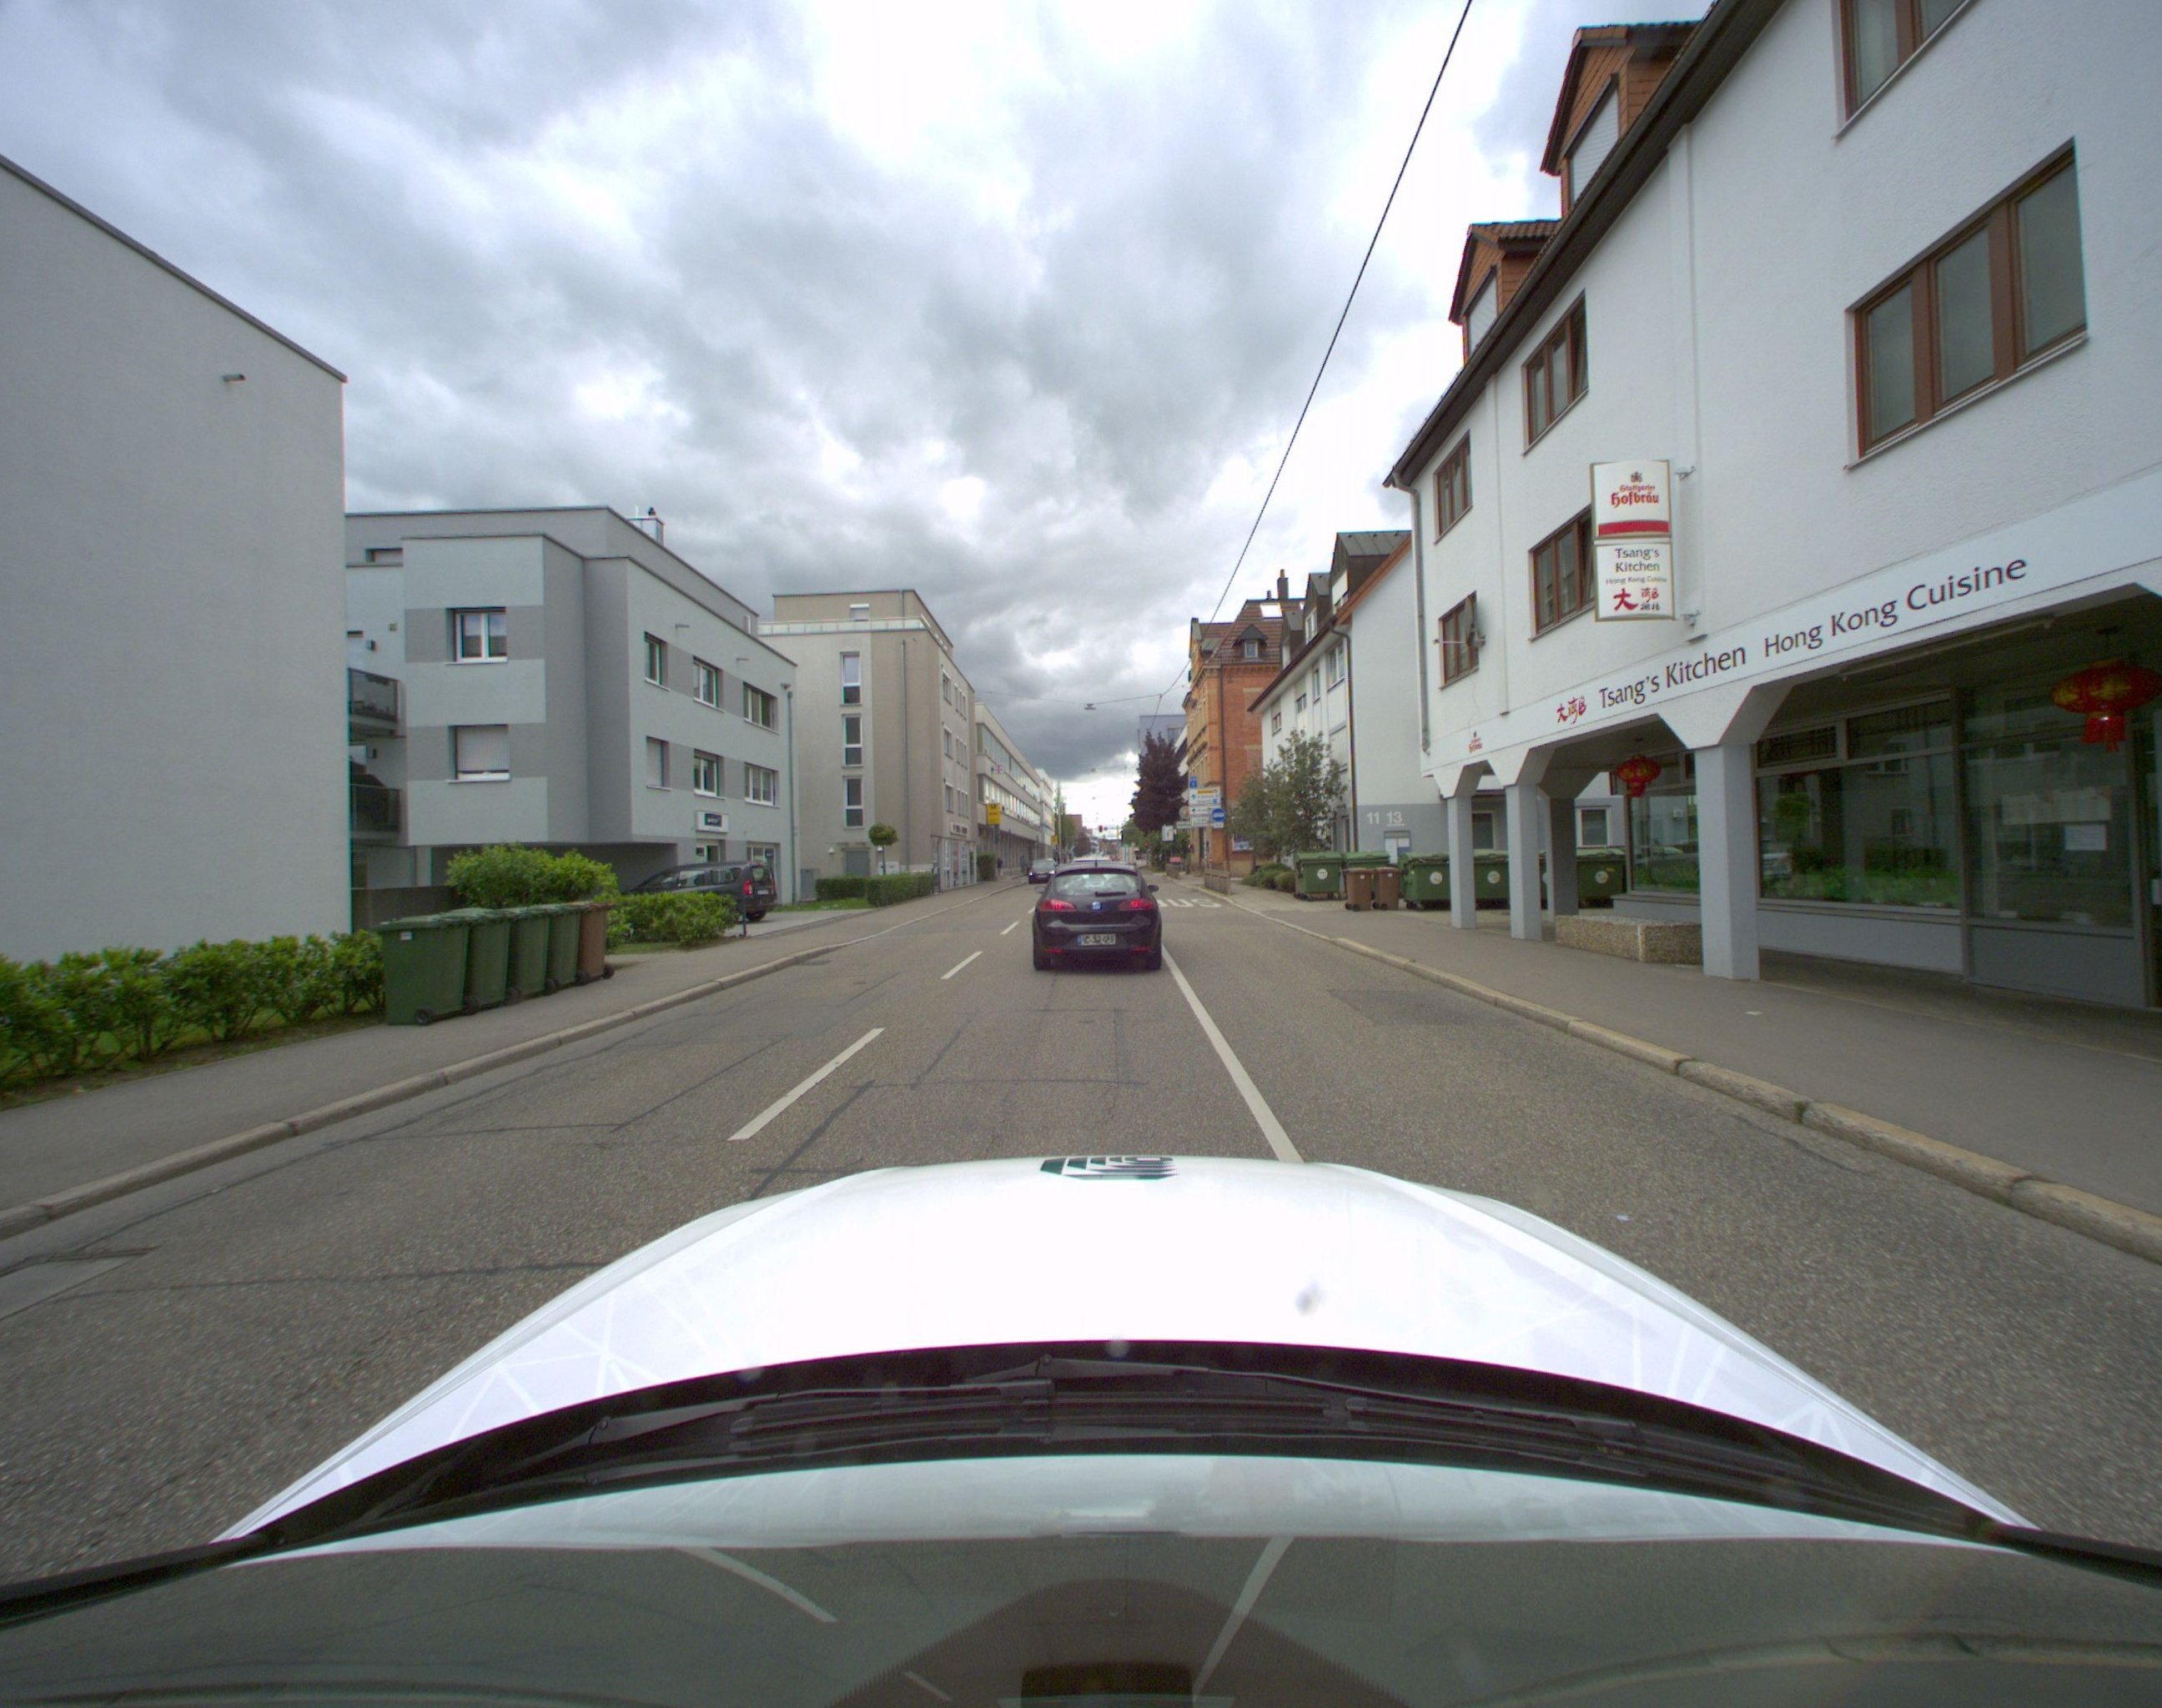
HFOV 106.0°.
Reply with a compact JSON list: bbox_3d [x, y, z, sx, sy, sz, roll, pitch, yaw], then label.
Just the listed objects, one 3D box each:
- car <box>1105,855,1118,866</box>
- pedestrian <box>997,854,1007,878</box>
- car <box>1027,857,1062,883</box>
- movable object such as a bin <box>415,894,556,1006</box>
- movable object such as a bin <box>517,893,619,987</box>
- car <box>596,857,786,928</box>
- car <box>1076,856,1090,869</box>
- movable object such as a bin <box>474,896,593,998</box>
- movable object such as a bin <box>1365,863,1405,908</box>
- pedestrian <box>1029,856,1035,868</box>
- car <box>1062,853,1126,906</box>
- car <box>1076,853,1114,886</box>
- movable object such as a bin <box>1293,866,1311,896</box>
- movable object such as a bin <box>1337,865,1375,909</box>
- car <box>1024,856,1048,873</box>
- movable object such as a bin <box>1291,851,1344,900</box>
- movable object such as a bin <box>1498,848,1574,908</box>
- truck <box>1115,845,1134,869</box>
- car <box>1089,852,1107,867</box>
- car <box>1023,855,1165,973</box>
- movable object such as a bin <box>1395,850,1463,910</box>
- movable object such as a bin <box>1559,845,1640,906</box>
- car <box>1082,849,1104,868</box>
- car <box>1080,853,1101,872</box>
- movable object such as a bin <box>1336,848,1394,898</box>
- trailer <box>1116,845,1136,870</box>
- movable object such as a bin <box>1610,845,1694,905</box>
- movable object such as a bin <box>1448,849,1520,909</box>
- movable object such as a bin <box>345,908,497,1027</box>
[{"bbox_3d":[4.291,0.900,113.927,1.797,1.601,3.738,0,0,1],"label":"car"},{"bbox_3d":[-5.860,0.887,60.393,0.641,1.769,0.809,-2,0,-1],"label":"pedestrian"},{"bbox_3d":[-2.276,0.966,51.667,1.872,1.451,4.215,-4,0,1],"label":"car"},{"bbox_3d":[-6.723,1.058,9.246,0.954,1.151,0.839,-1,0,-3],"label":"movable object such as a bin"},{"bbox_3d":[-6.773,1.119,10.780,0.938,1.151,0.612,-1,0,-3],"label":"movable object such as a bin"},{"bbox_3d":[-10.189,0.990,21.424,4.144,1.667,1.727,-2,-1,5],"label":"car"},{"bbox_3d":[0.387,1.310,126.568,1.987,1.738,4.554,-4,0,1],"label":"car"},{"bbox_3d":[-6.748,1.125,10.081,0.946,1.151,0.748,-1,0,-3],"label":"movable object such as a bin"},{"bbox_3d":[7.692,0.790,20.627,0.694,1.079,0.973,-1,0,5],"label":"movable object such as a bin"},{"bbox_3d":[-6.253,1.027,104.054,0.653,1.623,0.681,-2,0,2],"label":"pedestrian"},{"bbox_3d":[0.399,0.732,25.214,1.797,1.492,3.738,-2,0,1],"label":"car"},{"bbox_3d":[0.713,0.756,40.757,1.797,1.553,3.738,-2,0,1],"label":"car"},{"bbox_3d":[6.882,0.835,25.409,0.428,0.921,0.465,-1,0,2],"label":"movable object such as a bin"},{"bbox_3d":[6.967,0.830,20.669,0.680,1.067,0.973,-1,0,5],"label":"movable object such as a bin"},{"bbox_3d":[-4.246,0.970,76.937,1.906,1.517,4.175,-3,0,1],"label":"car"},{"bbox_3d":[7.115,0.622,24.591,1.262,1.417,1.163,-1,0,2],"label":"movable object such as a bin"},{"bbox_3d":[11.232,0.570,20.159,1.203,1.417,1.261,-1,0,5],"label":"movable object such as a bin"},{"bbox_3d":[4.924,0.353,91.754,1.986,2.607,3.261,-2,0,1],"label":"truck"},{"bbox_3d":[1.830,0.591,87.421,1.797,1.601,3.738,0,0,1],"label":"car"},{"bbox_3d":[0.221,0.763,12.191,1.759,1.433,3.830,-1,0,2],"label":"car"},{"bbox_3d":[8.624,0.631,20.259,1.203,1.417,1.261,-1,0,5],"label":"movable object such as a bin"},{"bbox_3d":[12.759,0.511,20.093,1.203,1.417,1.261,-1,0,5],"label":"movable object such as a bin"},{"bbox_3d":[1.047,0.383,71.570,1.797,1.553,3.738,-2,0,1],"label":"car"},{"bbox_3d":[0.853,0.709,71.847,1.797,1.601,3.738,0,0,1],"label":"car"},{"bbox_3d":[8.455,0.549,24.318,1.262,1.435,1.308,-1,0,2],"label":"movable object such as a bin"},{"bbox_3d":[4.873,0.354,88.977,1.986,2.607,5.350,-2,0,1],"label":"trailer"},{"bbox_3d":[13.998,0.501,20.003,1.203,1.417,1.261,-1,0,5],"label":"movable object such as a bin"},{"bbox_3d":[9.981,0.598,20.214,1.203,1.417,1.261,-1,0,5],"label":"movable object such as a bin"},{"bbox_3d":[-6.763,1.137,8.391,0.892,1.089,0.792,-1,0,-3],"label":"movable object such as a bin"}]
